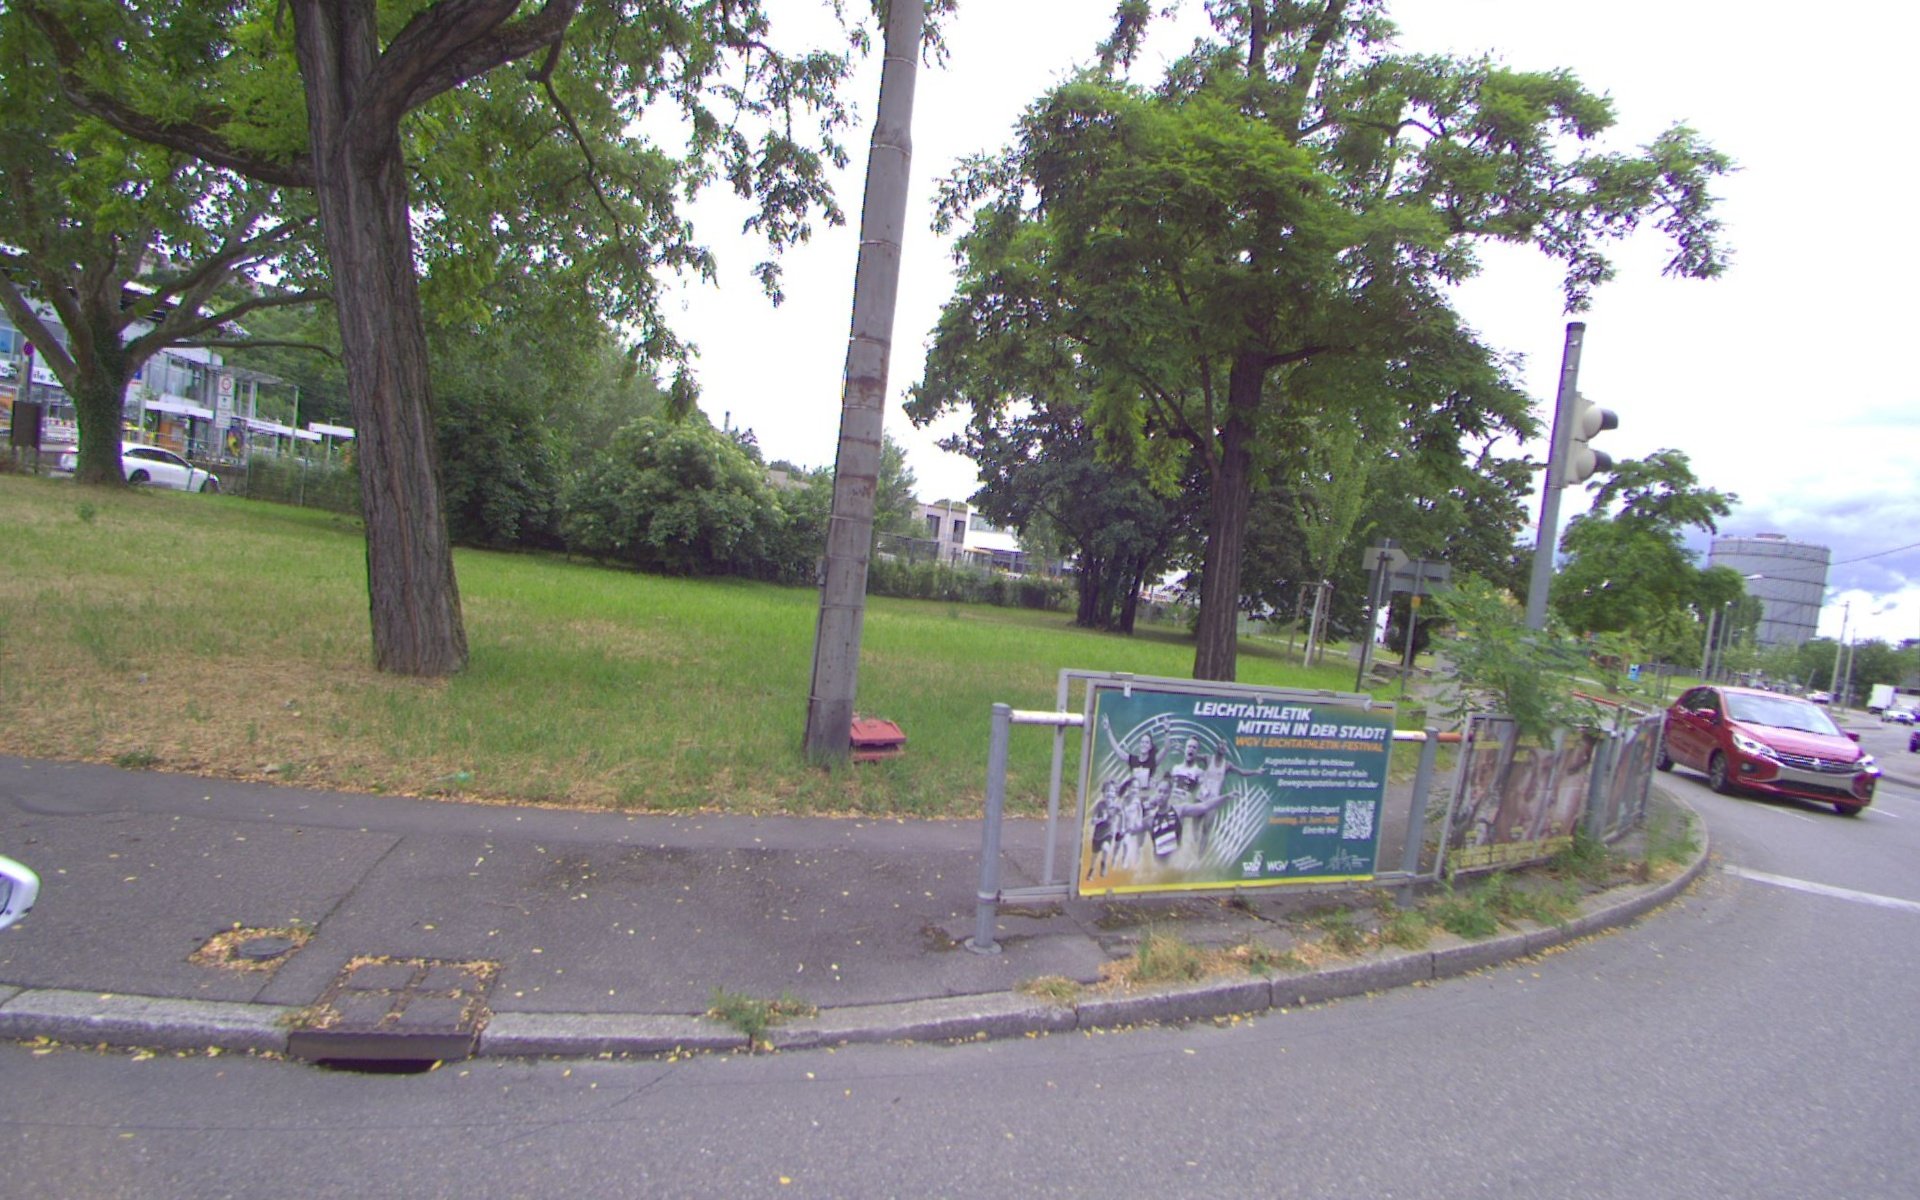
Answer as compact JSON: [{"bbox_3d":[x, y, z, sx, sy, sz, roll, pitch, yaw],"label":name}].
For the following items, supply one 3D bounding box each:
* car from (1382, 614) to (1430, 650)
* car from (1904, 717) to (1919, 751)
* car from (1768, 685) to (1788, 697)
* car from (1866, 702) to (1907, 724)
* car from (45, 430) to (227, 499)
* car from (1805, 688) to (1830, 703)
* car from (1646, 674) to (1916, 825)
[{"bbox_3d":[30.928,2.235,69.680,1.939,2.040,4.204,11,3,35],"label":"car"},{"bbox_3d":[47.451,6.655,48.851,3.345,1.509,1.698,7,3,-39],"label":"car"},{"bbox_3d":[128.359,14.255,157.878,2.015,1.556,3.929,11,3,35],"label":"car"},{"bbox_3d":[86.454,10.519,93.898,2.014,1.555,3.931,5,0,32],"label":"car"},{"bbox_3d":[-27.023,-4.385,33.268,1.771,1.527,4.892,9,2,1],"label":"car"},{"bbox_3d":[116.914,13.003,137.177,2.015,1.556,3.929,11,3,35],"label":"car"},{"bbox_3d":[11.580,2.009,14.534,1.701,1.484,3.833,7,1,20],"label":"car"}]
